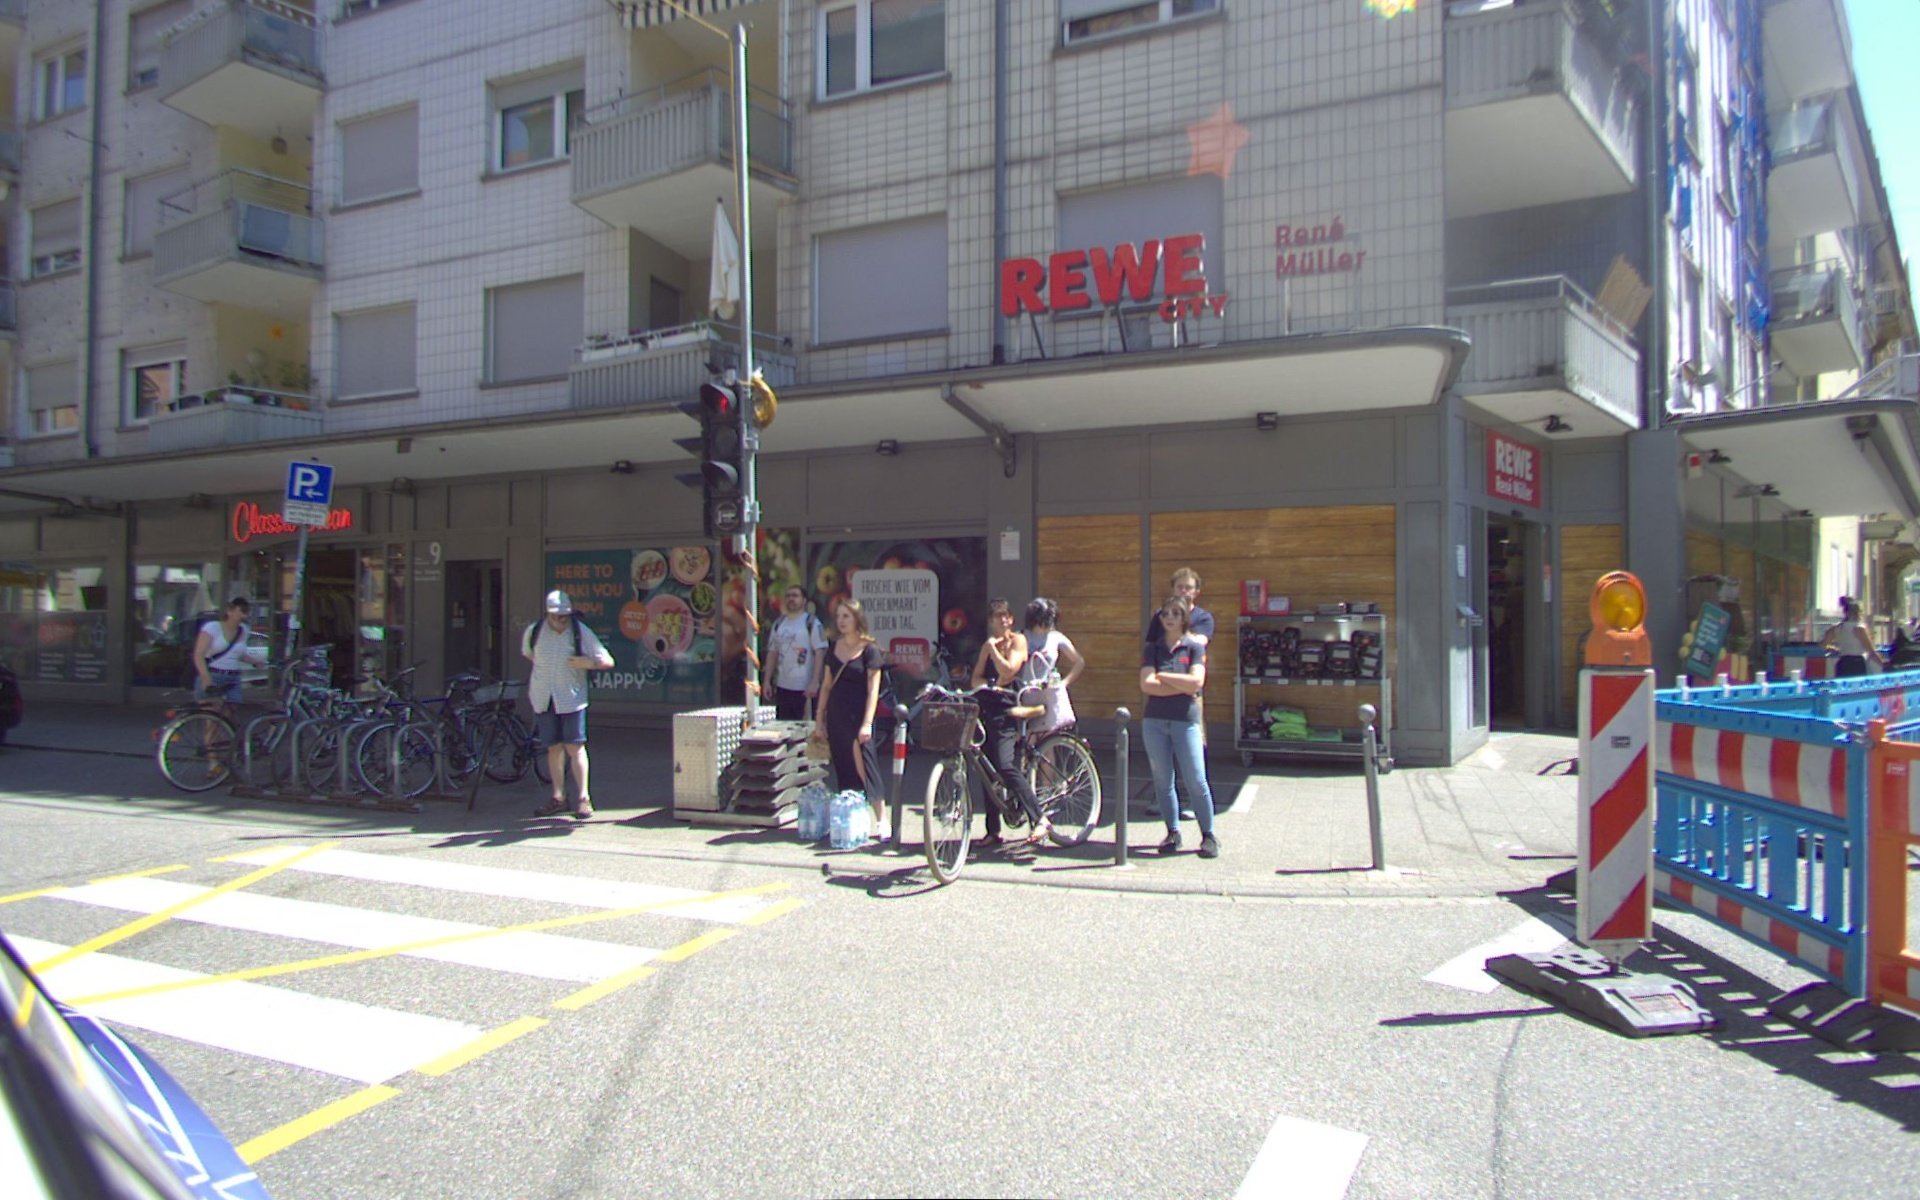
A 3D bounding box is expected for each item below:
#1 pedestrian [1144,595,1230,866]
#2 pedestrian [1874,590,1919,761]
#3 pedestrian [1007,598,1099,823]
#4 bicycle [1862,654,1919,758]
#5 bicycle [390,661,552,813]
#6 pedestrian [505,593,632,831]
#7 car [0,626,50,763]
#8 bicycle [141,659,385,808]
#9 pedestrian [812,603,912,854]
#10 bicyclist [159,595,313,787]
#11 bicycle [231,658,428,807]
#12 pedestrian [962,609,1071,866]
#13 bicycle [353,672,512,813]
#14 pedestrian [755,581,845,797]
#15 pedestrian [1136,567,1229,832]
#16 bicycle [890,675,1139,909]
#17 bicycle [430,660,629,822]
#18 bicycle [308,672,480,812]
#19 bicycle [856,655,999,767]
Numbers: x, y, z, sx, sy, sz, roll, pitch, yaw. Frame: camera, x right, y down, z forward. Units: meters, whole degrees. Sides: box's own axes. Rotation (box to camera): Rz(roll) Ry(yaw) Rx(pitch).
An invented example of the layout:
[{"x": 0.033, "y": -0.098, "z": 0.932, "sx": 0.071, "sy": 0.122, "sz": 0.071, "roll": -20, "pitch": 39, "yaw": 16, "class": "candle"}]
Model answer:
[{"x": 1.436, "y": 0.793, "z": 6.390, "sx": 0.472, "sy": 1.630, "sz": 0.388, "roll": -1, "pitch": -2, "yaw": 20, "class": "pedestrian"}, {"x": 9.857, "y": 0.772, "z": 10.378, "sx": 0.384, "sy": 1.728, "sz": 0.592, "roll": 1, "pitch": -2, "yaw": -28, "class": "pedestrian"}, {"x": 0.715, "y": 0.814, "z": 7.754, "sx": 0.595, "sy": 1.645, "sz": 0.507, "roll": -1, "pitch": -2, "yaw": 20, "class": "pedestrian"}, {"x": 10.272, "y": 1.118, "z": 10.599, "sx": 0.338, "sy": 1.080, "sz": 1.572, "roll": 0, "pitch": -2, "yaw": 5, "class": "bicycle"}, {"x": -4.268, "y": 1.153, "z": 8.945, "sx": 0.333, "sy": 1.125, "sz": 1.515, "roll": -1, "pitch": 0, "yaw": 18, "class": "bicycle"}, {"x": -3.013, "y": 0.828, "z": 7.833, "sx": 0.628, "sy": 1.740, "sz": 0.654, "roll": -1, "pitch": -2, "yaw": 20, "class": "pedestrian"}, {"x": -13.004, "y": 1.093, "z": 11.954, "sx": 4.435, "sy": 1.536, "sz": 1.662, "roll": -1, "pitch": -1, "yaw": 23, "class": "car"}, {"x": -6.563, "y": 1.208, "z": 9.674, "sx": 0.599, "sy": 1.100, "sz": 1.930, "roll": -3, "pitch": 1, "yaw": 16, "class": "bicycle"}, {"x": -0.671, "y": 0.854, "z": 7.020, "sx": 0.507, "sy": 1.645, "sz": 0.539, "roll": -1, "pitch": -2, "yaw": 20, "class": "pedestrian"}, {"x": -6.910, "y": 0.831, "z": 9.696, "sx": 0.620, "sy": 1.719, "sz": 0.973, "roll": -2, "pitch": 1, "yaw": 18, "class": "bicyclist"}, {"x": -5.778, "y": 1.168, "z": 9.380, "sx": 0.522, "sy": 1.148, "sz": 1.579, "roll": -1, "pitch": 0, "yaw": 18, "class": "bicycle"}, {"x": 0.366, "y": 0.853, "z": 6.578, "sx": 0.489, "sy": 1.577, "sz": 0.460, "roll": -1, "pitch": -1, "yaw": -41, "class": "pedestrian"}, {"x": -4.678, "y": 1.223, "z": 9.071, "sx": 0.333, "sy": 1.043, "sz": 1.444, "roll": -1, "pitch": 0, "yaw": 18, "class": "bicycle"}, {"x": -1.374, "y": 0.747, "z": 8.749, "sx": 0.595, "sy": 1.784, "sz": 0.507, "roll": -1, "pitch": -2, "yaw": 20, "class": "pedestrian"}, {"x": 1.630, "y": 0.698, "z": 7.380, "sx": 0.595, "sy": 1.834, "sz": 0.507, "roll": -1, "pitch": -2, "yaw": 20, "class": "pedestrian"}, {"x": 0.394, "y": 1.081, "z": 6.209, "sx": 0.468, "sy": 1.128, "sz": 1.785, "roll": -2, "pitch": -1, "yaw": 43, "class": "bicycle"}, {"x": -3.645, "y": 1.141, "z": 8.749, "sx": 0.573, "sy": 1.131, "sz": 1.794, "roll": 0, "pitch": 0, "yaw": 16, "class": "bicycle"}, {"x": -5.093, "y": 1.239, "z": 9.211, "sx": 0.395, "sy": 1.038, "sz": 1.490, "roll": -1, "pitch": 0, "yaw": 18, "class": "bicycle"}, {"x": -0.325, "y": 1.122, "z": 10.324, "sx": 1.414, "sy": 1.094, "sz": 0.321, "roll": -1, "pitch": -1, "yaw": 4, "class": "bicycle"}]
